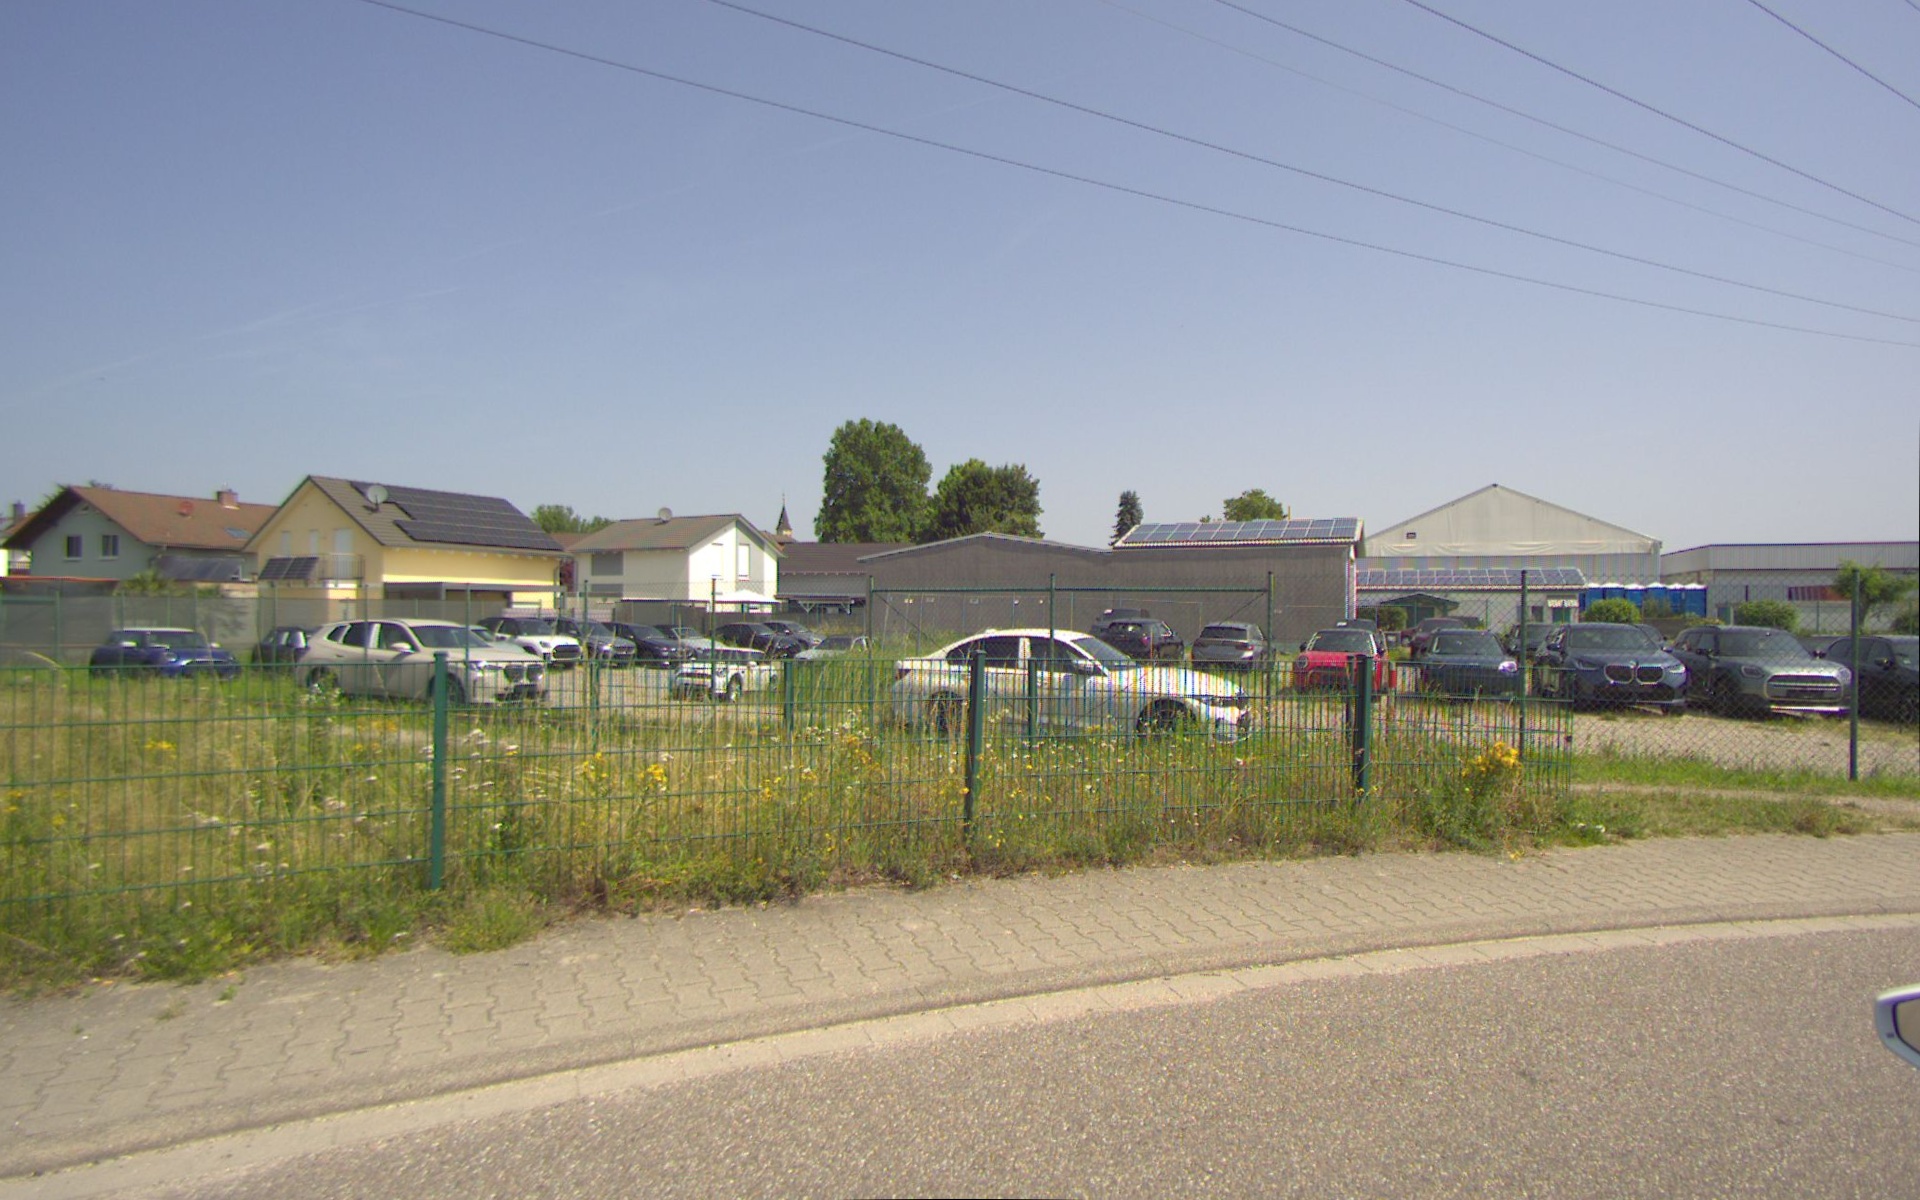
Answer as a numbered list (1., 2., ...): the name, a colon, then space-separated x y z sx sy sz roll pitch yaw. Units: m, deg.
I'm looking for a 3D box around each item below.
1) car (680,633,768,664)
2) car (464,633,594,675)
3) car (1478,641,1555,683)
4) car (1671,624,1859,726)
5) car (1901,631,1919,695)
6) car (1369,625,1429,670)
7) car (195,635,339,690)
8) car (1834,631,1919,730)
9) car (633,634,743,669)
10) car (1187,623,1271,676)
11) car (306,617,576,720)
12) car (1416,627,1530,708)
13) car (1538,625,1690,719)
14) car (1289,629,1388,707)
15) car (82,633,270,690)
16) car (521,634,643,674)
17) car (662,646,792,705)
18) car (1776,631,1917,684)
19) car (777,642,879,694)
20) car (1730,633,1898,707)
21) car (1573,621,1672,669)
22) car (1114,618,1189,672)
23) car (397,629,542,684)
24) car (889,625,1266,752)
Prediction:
1. car: -10.610 2.167 45.230 3.541 1.252 1.792 1 -1 27
2. car: -14.736 1.817 34.340 4.056 1.252 1.793 1 -1 24
3. car: 18.860 2.059 34.206 1.833 1.191 4.602 1 -1 23
4. car: 14.904 1.311 18.838 1.833 1.665 3.632 1 -1 23
5. car: 22.508 1.444 21.748 1.965 1.454 4.416 1 0 27
6. car: 15.678 1.629 35.952 1.833 1.452 4.602 1 -1 23
7. car: -18.100 1.591 26.224 3.560 1.263 1.486 0 -1 25
8. car: 16.986 1.352 17.300 1.833 1.575 3.769 1 -1 23
9. car: -11.010 2.065 40.678 4.056 1.252 1.793 1 -1 24
10. car: 7.426 1.300 27.552 1.832 1.315 3.440 1 -1 21
11. car: -9.308 1.135 18.017 4.353 1.583 2.041 1 -1 24
12. car: 10.433 1.303 20.652 1.833 1.452 3.647 1 -1 23
13. car: 12.461 1.292 19.374 1.833 1.582 3.695 1 -1 23
14. car: 8.213 1.378 21.618 1.833 1.473 3.439 1 -1 23
15. car: -18.411 1.395 23.583 3.928 1.122 1.866 1 -1 24
16. car: -13.707 1.921 36.446 4.056 1.252 1.793 1 -1 24
17. car: -6.099 1.955 26.626 1.627 1.332 3.389 1 -1 25
18. car: 27.866 1.748 31.773 1.963 1.454 4.663 1 -1 23
19. car: -4.783 2.449 36.937 1.962 1.639 3.998 0 -1 23
20. car: 19.431 1.529 23.065 1.962 1.439 3.996 0 -1 26
21. car: 22.170 1.461 33.802 1.963 1.454 4.663 1 -1 23
22. car: 5.667 1.269 29.473 1.831 1.433 3.442 1 -1 16
23. car: -15.767 1.769 32.296 4.056 1.556 2.041 1 -1 24
24. car: 1.503 1.028 12.954 4.475 1.324 1.867 1 -1 24
